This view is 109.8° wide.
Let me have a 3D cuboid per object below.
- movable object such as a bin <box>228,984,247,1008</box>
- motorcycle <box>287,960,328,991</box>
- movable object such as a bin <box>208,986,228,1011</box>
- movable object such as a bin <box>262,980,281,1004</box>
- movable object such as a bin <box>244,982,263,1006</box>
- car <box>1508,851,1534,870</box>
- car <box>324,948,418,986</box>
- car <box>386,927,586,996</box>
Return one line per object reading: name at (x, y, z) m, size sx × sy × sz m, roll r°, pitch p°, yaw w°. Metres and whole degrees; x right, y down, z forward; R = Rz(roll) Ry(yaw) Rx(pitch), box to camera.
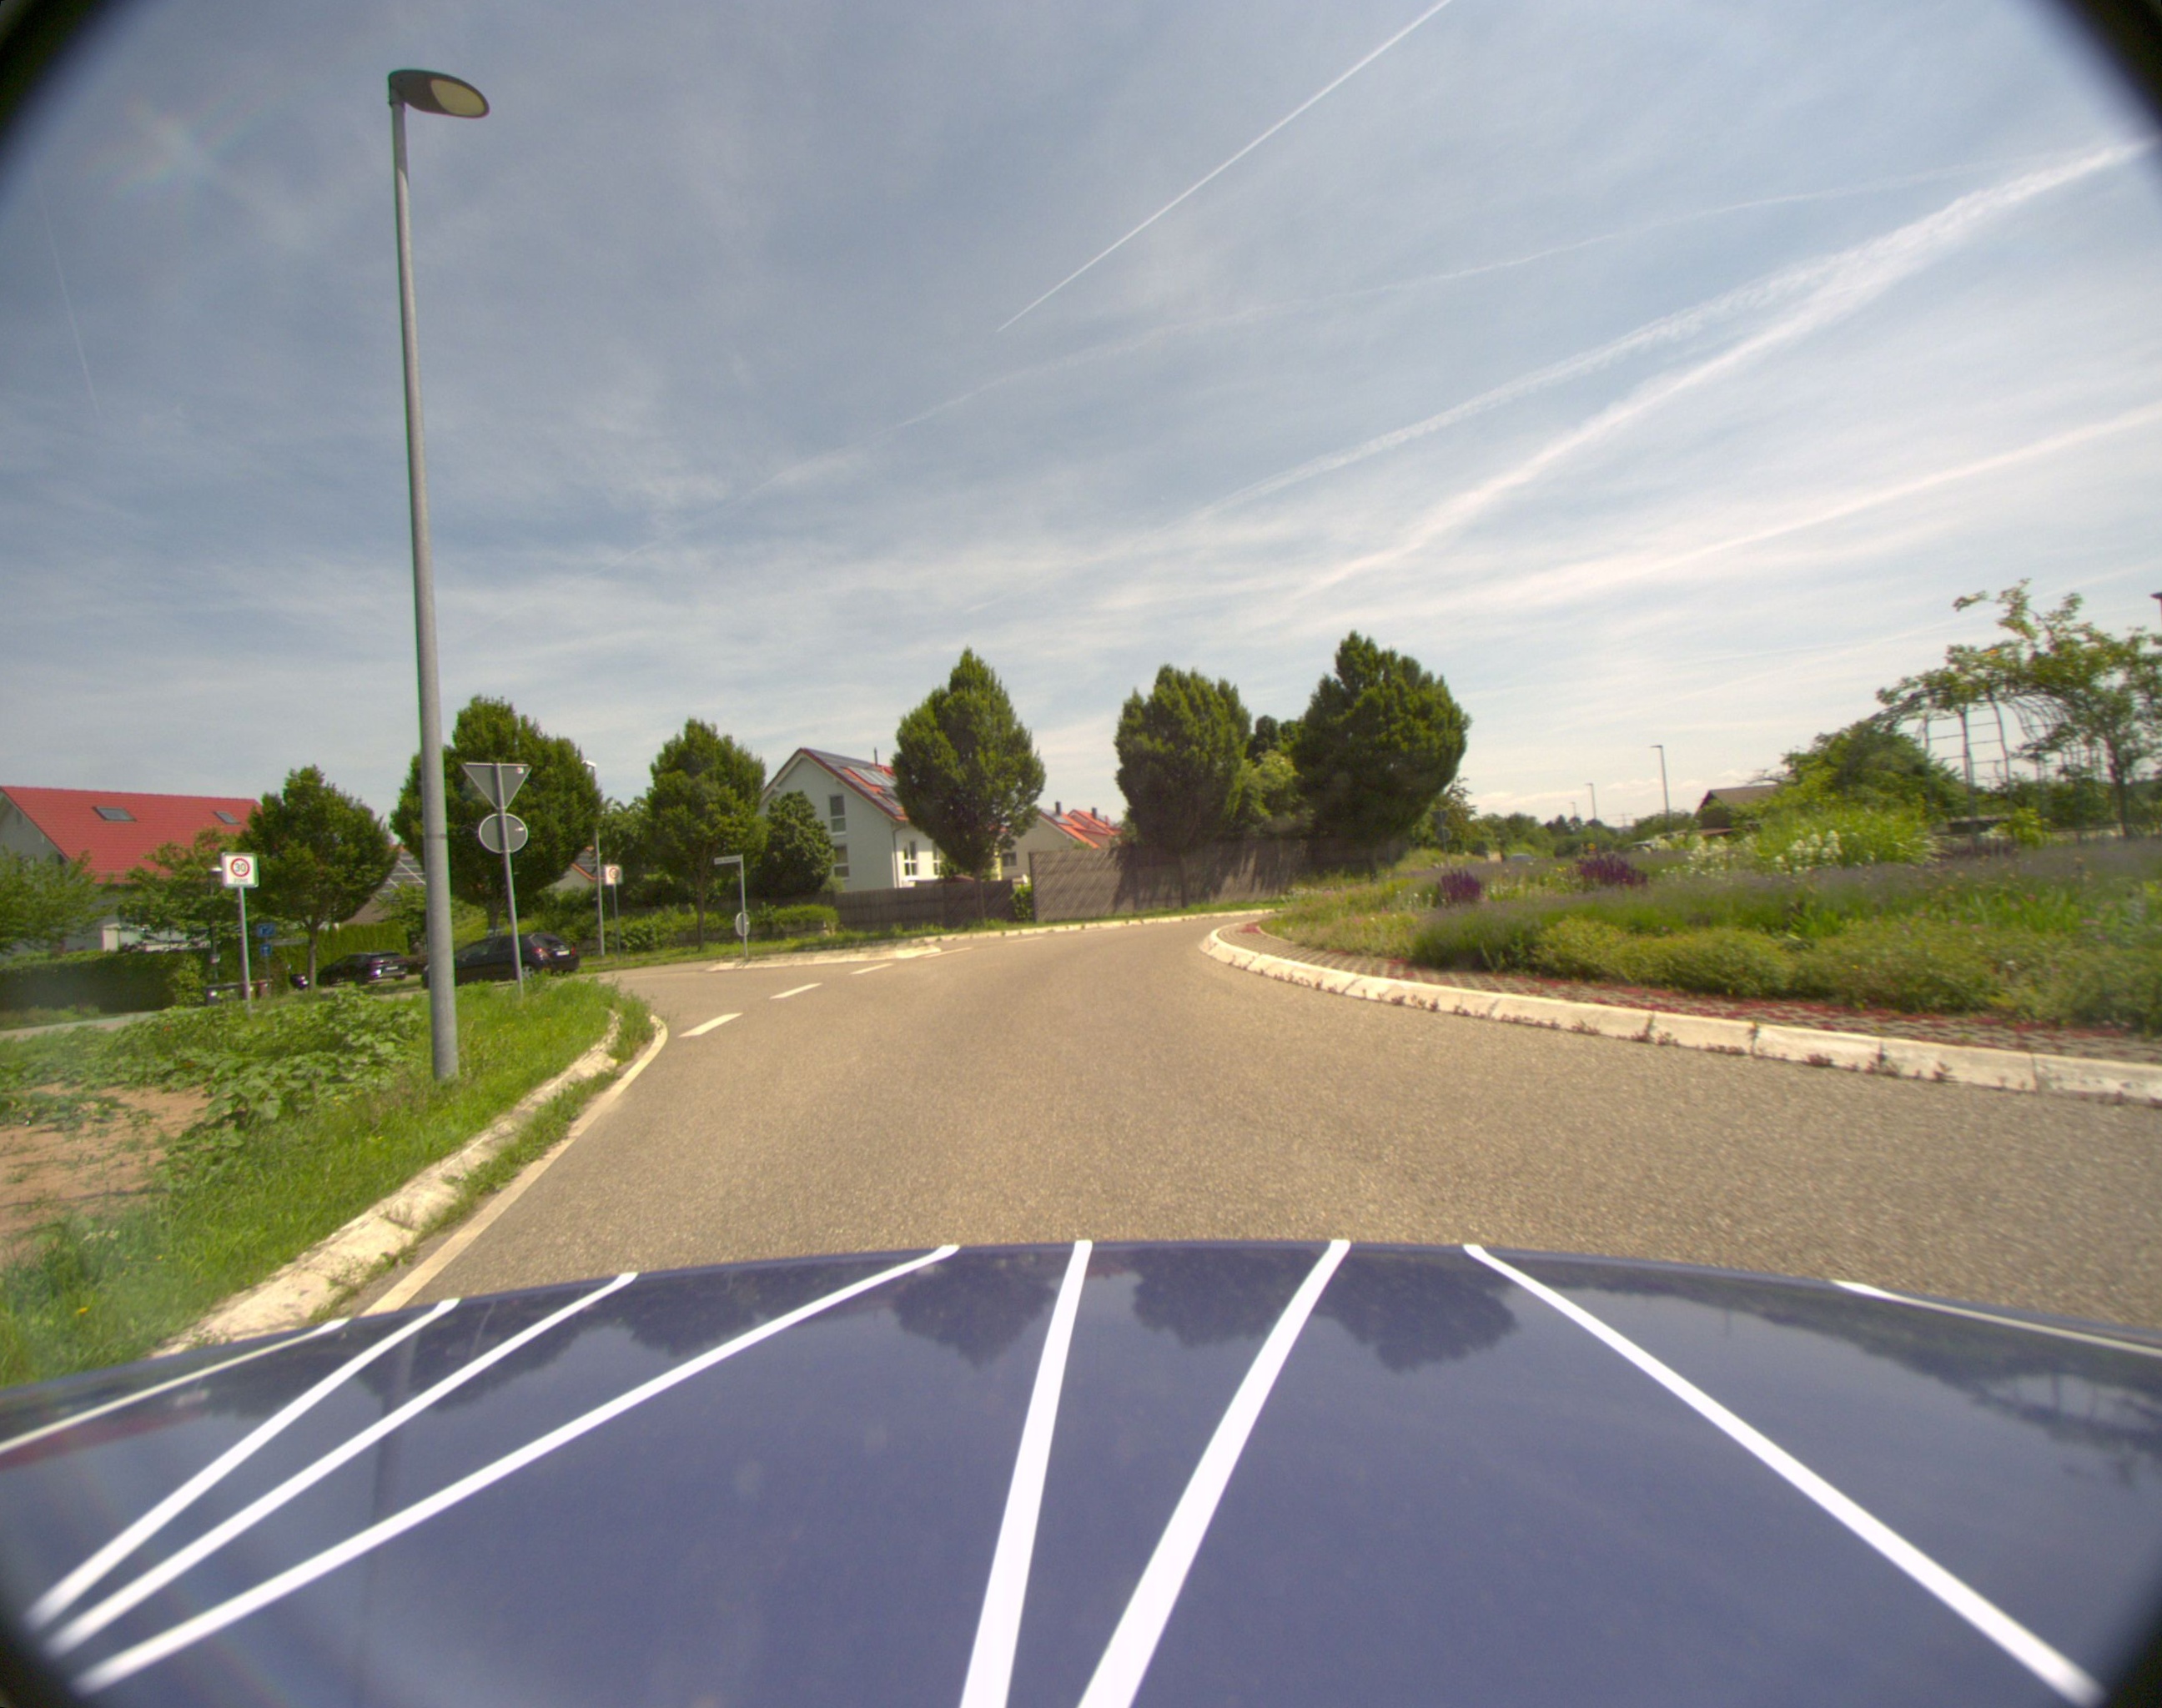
movable object such as a bin at (-36.615, 6.165, 32.974) m, size 0.498 × 0.960 × 0.442 m, roll -6°, pitch -3°, yaw 31°
motorcycle at (-38.162, 5.986, 37.487) m, size 1.658 × 1.340 × 0.852 m, roll -6°, pitch -1°, yaw 24°
movable object such as a bin at (-36.898, 6.170, 32.482) m, size 0.498 × 0.960 × 0.442 m, roll -6°, pitch -3°, yaw 31°
movable object such as a bin at (-36.077, 6.151, 33.871) m, size 0.498 × 0.960 × 0.442 m, roll -6°, pitch -3°, yaw 31°
movable object such as a bin at (-36.369, 6.159, 33.398) m, size 0.498 × 0.960 × 0.442 m, roll -6°, pitch -3°, yaw 31°
car at (39.082, 0.552, 67.556) m, size 1.612 × 1.604 × 4.228 m, roll -2°, pitch 0°, yaw 25°
car at (-36.473, 5.793, 39.064) m, size 3.993 × 1.542 × 1.714 m, roll -5°, pitch -2°, yaw 17°
car at (-17.224, 3.097, 22.125) m, size 4.429 × 1.455 × 1.679 m, roll -5°, pitch -2°, yaw 0°
